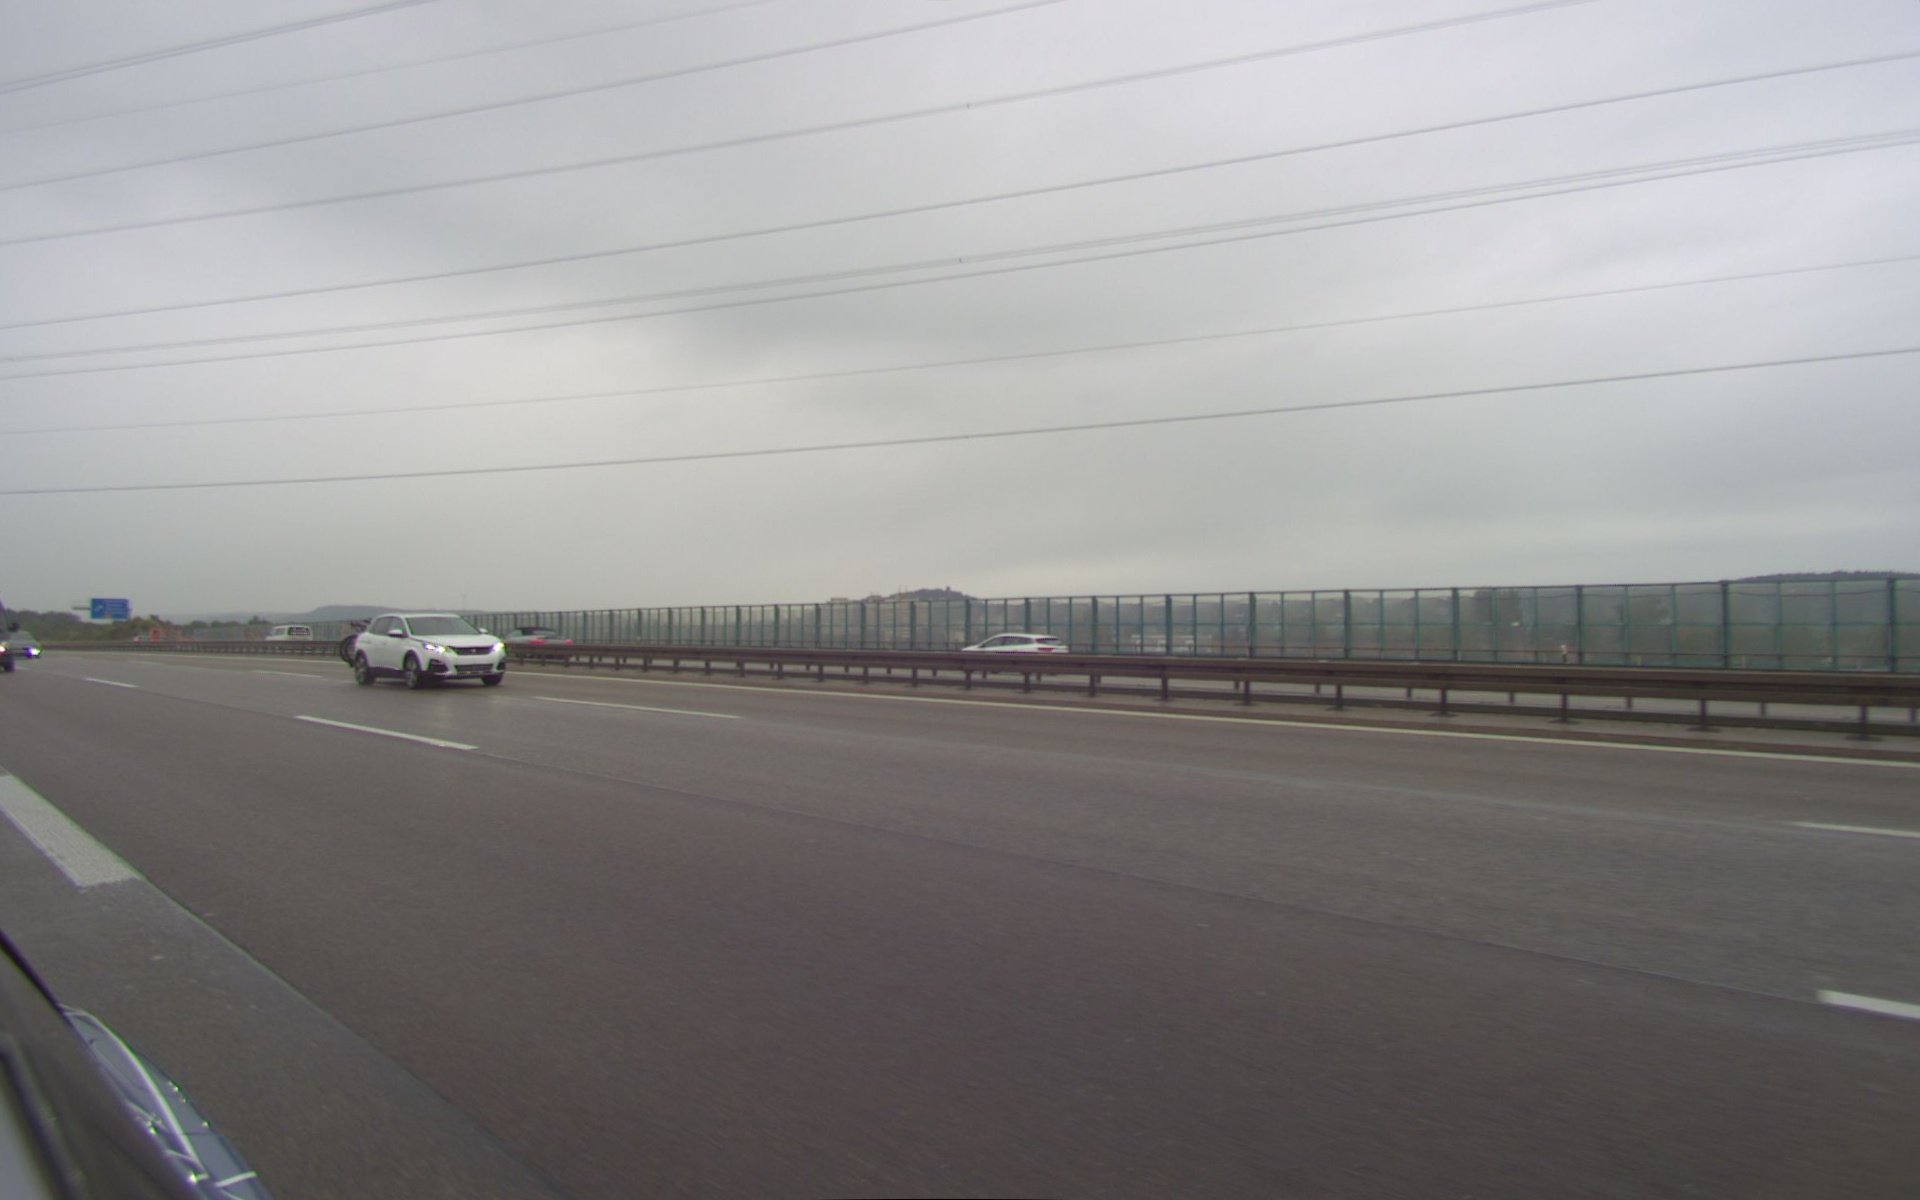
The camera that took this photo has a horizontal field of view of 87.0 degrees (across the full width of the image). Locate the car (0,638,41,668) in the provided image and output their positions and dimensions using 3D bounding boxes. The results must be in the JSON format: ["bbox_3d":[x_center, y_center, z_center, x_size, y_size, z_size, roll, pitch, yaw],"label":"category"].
[{"bbox_3d":[-48.591,2.693,51.918,4.828,1.413,1.707,-2,-2,42],"label":"car"}]

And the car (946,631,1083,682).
[{"bbox_3d":[1.933,2.005,36.836,4.697,1.677,1.973,-2,0,40],"label":"car"}]

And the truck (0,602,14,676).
[{"bbox_3d":[-33.304,1.315,33.593,6.104,2.355,1.974,-2,-2,39],"label":"truck"}]

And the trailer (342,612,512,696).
[{"bbox_3d":[-11.712,1.113,22.107,4.566,1.637,1.796,-1,-1,41],"label":"trailer"}]

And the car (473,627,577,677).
[{"bbox_3d":[-16.773,1.974,38.948,4.464,1.757,1.822,-1,-4,40],"label":"car"}]

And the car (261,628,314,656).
[{"bbox_3d":[-46.723,2.881,70.304,4.464,1.757,1.901,-1,-1,40],"label":"car"}]

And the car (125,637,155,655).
[{"bbox_3d":[-81.496,4.554,100.573,3.783,1.596,1.609,-3,4,41],"label":"car"}]

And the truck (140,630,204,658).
[{"bbox_3d":[-96.545,5.281,123.857,14.314,2.856,3.573,0,1,41],"label":"truck"}]
